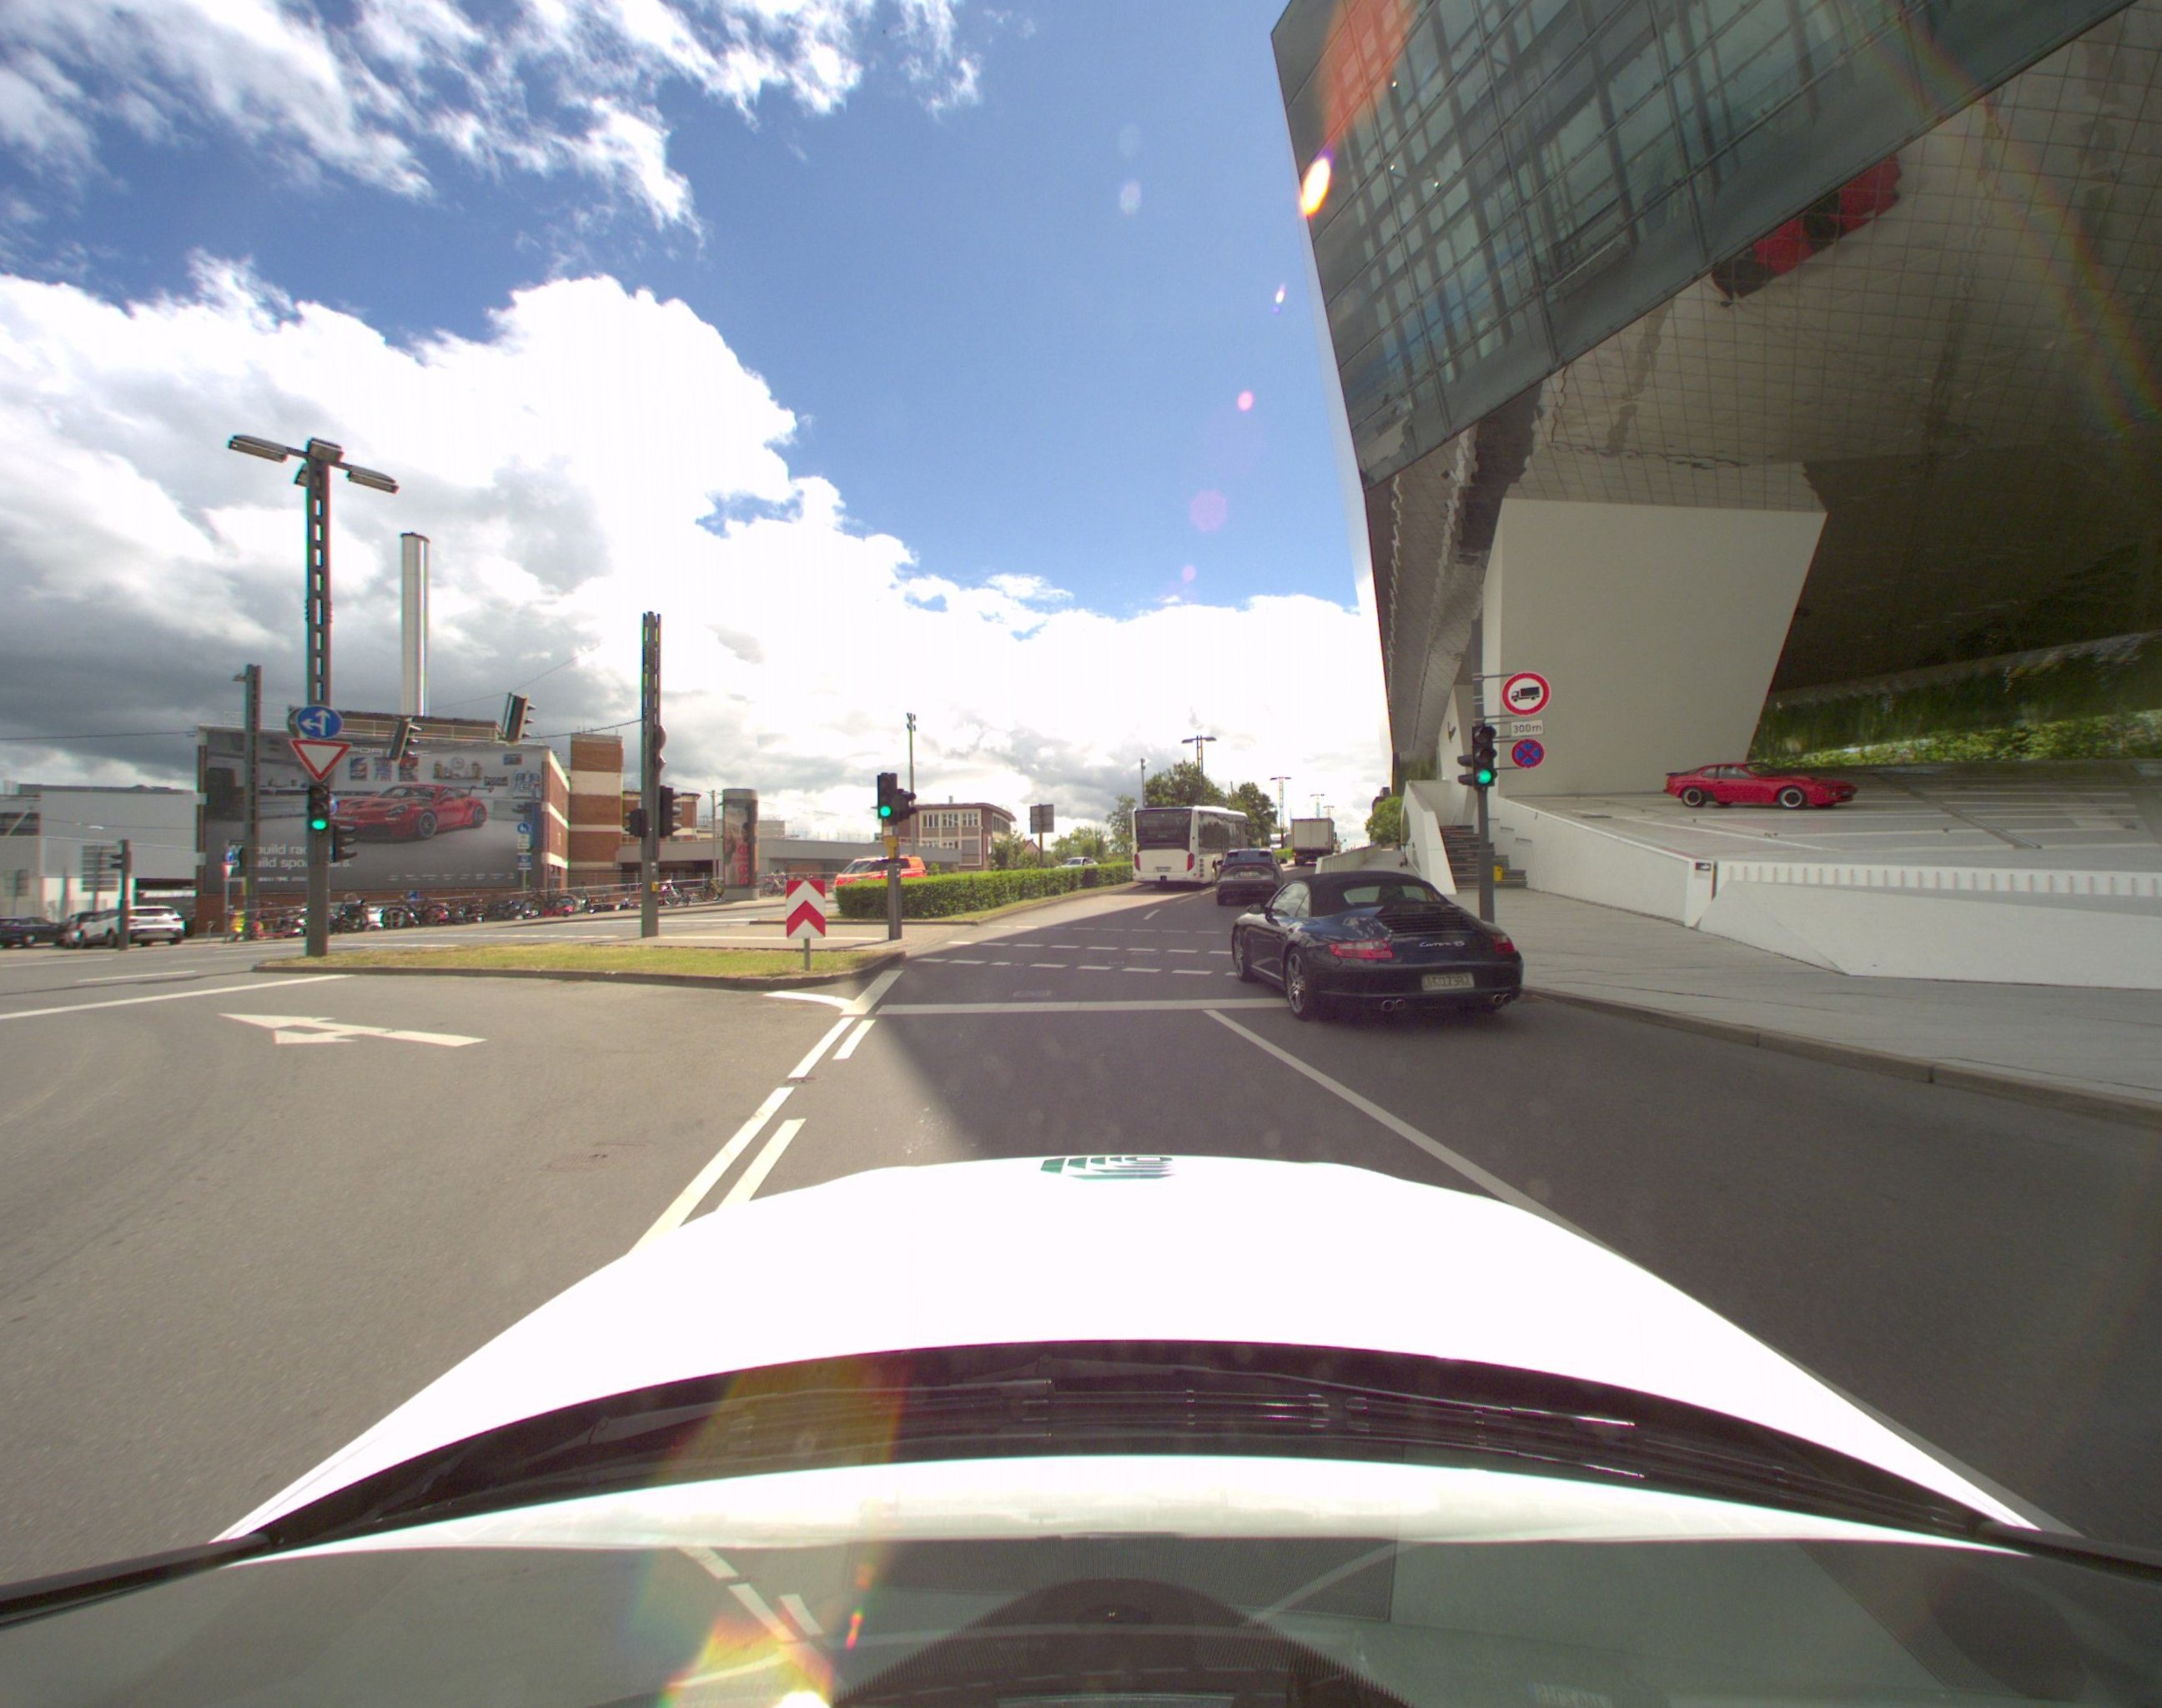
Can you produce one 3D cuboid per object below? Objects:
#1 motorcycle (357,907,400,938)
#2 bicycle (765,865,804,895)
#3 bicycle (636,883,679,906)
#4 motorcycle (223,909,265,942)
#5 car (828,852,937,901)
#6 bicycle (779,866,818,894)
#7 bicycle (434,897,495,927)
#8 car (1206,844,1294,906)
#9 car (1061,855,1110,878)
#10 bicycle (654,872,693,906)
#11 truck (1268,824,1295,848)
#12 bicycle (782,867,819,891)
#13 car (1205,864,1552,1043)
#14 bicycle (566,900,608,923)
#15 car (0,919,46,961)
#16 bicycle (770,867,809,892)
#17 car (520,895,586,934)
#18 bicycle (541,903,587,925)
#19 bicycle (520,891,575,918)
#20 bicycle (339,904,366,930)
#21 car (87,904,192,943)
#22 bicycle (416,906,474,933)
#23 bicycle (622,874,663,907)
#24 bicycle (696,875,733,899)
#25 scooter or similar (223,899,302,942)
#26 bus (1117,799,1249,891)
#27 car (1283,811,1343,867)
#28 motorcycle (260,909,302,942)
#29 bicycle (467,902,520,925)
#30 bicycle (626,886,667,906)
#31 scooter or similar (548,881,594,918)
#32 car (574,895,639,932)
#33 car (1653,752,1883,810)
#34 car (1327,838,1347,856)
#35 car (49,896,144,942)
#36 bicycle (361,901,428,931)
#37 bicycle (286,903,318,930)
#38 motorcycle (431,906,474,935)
[{"bbox_3d":[-30.910,2.994,35.802,2.875,1.196,0.926,-1,-3,40],"label":"motorcycle"},{"bbox_3d":[-14.211,1.248,39.055,1.722,1.381,0.673,0,-2,20],"label":"bicycle"},{"bbox_3d":[-18.955,1.804,36.452,0.486,0.866,1.621,-3,0,34],"label":"bicycle"},{"bbox_3d":[-34.031,2.877,33.096,2.875,1.196,0.926,-1,-3,40],"label":"motorcycle"},{"bbox_3d":[-8.754,0.955,36.431,1.975,1.983,4.866,-3,-1,27],"label":"car"},{"bbox_3d":[-13.877,1.275,39.966,1.722,1.381,0.673,0,-2,20],"label":"bicycle"},{"bbox_3d":[-21.309,1.988,28.177,1.620,0.866,0.487,-4,1,-41],"label":"bicycle"},{"bbox_3d":[5.099,0.545,24.148,1.977,1.636,4.020,0,1,20],"label":"car"},{"bbox_3d":[0.366,0.825,55.769,1.739,1.397,4.699,0,1,23],"label":"car"},{"bbox_3d":[-16.998,1.447,33.971,1.592,1.383,0.495,0,-2,20],"label":"bicycle"},{"bbox_3d":[29.088,-2.494,118.072,2.176,2.961,9.001,0,-2,24],"label":"truck"},{"bbox_3d":[-14.036,1.237,40.745,1.723,1.182,0.673,0,-1,20],"label":"bicycle"},{"bbox_3d":[2.632,0.797,8.329,1.831,1.325,3.993,-2,-1,-4],"label":"car"},{"bbox_3d":[-20.762,2.406,34.261,0.488,0.866,1.616,0,-2,12],"label":"bicycle"},{"bbox_3d":[-47.949,3.797,36.070,2.011,1.637,3.951,2,-3,-44],"label":"car"},{"bbox_3d":[-14.296,1.247,39.960,1.723,1.181,0.673,0,4,18],"label":"bicycle"},{"bbox_3d":[-26.385,2.976,40.646,3.438,1.785,1.640,-1,-3,37],"label":"car"},{"bbox_3d":[-21.730,2.505,34.238,0.487,0.866,1.620,0,-2,24],"label":"bicycle"},{"bbox_3d":[-19.726,1.864,30.144,0.486,0.866,1.621,-3,0,32],"label":"bicycle"},{"bbox_3d":[-25.733,2.217,28.784,0.494,0.866,1.594,2,-3,-34],"label":"bicycle"},{"bbox_3d":[-36.710,2.686,31.760,3.313,1.351,1.795,0,-2,25],"label":"car"},{"bbox_3d":[-23.697,2.439,30.358,1.614,0.866,0.488,-2,-1,-27],"label":"bicycle"},{"bbox_3d":[-17.682,1.471,32.844,1.592,1.317,0.495,0,-2,20],"label":"bicycle"},{"bbox_3d":[-16.236,1.453,36.079,1.592,1.056,0.495,0,-2,20],"label":"bicycle"},{"bbox_3d":[-25.799,2.094,25.694,1.635,1.181,0.498,-4,0,-24],"label":"scooter or similar"},{"bbox_3d":[4.930,-0.507,36.028,3.046,3.361,12.287,0,1,20],"label":"bus"},{"bbox_3d":[16.835,-0.933,58.679,3.307,3.505,9.388,0,-2,21],"label":"car"},{"bbox_3d":[-33.194,2.933,33.766,2.875,1.196,0.926,-1,-3,40],"label":"motorcycle"},{"bbox_3d":[-22.808,2.300,31.650,1.617,0.866,0.487,2,-3,-34],"label":"bicycle"},{"bbox_3d":[-19.630,1.895,36.811,0.486,0.866,1.621,-3,-2,32],"label":"bicycle"},{"bbox_3d":[-18.786,1.658,30.035,0.489,1.231,1.397,0,1,21],"label":"scooter or similar"},{"bbox_3d":[-24.990,3.102,42.853,3.438,1.804,1.715,-1,-3,38],"label":"car"},{"bbox_3d":[18.913,-2.064,22.712,2.002,1.394,4.481,-4,7,-22],"label":"car"},{"bbox_3d":[30.723,-0.837,97.679,1.976,1.904,4.020,0,-2,21],"label":"car"},{"bbox_3d":[-45.320,2.933,37.592,2.222,1.858,4.461,3,-3,-44],"label":"car"},{"bbox_3d":[-22.814,2.053,27.087,1.615,0.866,0.488,-2,-1,-28],"label":"bicycle"},{"bbox_3d":[-26.817,2.144,28.050,0.494,0.866,1.594,2,-3,-34],"label":"bicycle"},{"bbox_3d":[-28.900,3.013,37.448,2.875,1.196,0.926,-1,-3,40],"label":"motorcycle"}]
